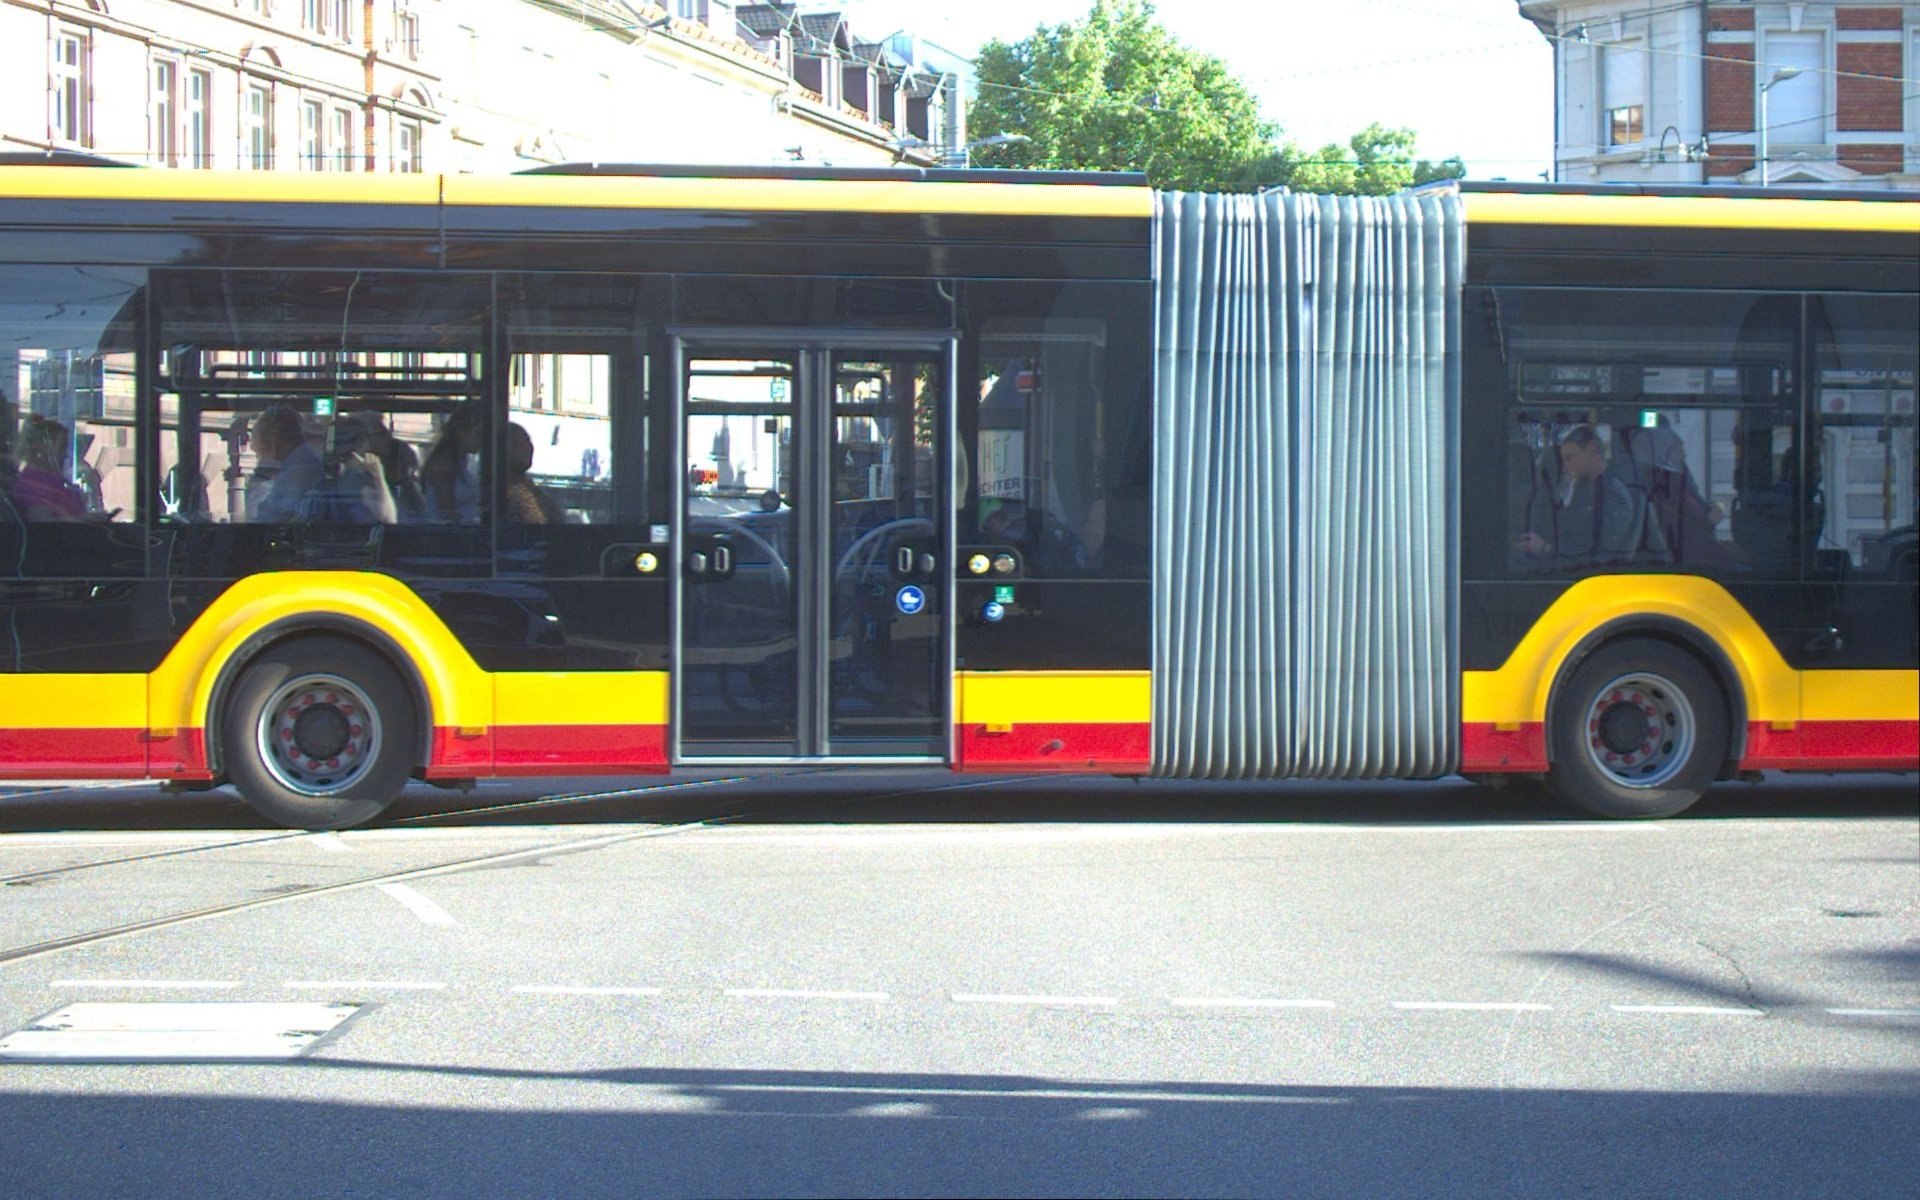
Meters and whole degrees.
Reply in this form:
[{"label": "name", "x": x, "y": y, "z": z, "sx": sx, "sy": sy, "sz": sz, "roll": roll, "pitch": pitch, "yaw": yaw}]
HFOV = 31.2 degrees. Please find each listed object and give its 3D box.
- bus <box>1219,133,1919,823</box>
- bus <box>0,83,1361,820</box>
[{"label": "bus", "x": 6.387, "y": -0.601, "z": 19.243, "sx": 9.409, "sy": 3.445, "sz": 2.781, "roll": 1, "pitch": 2, "yaw": -8}, {"label": "bus", "x": -2.490, "y": -0.732, "z": 17.994, "sx": 8.612, "sy": 3.445, "sz": 2.788, "roll": 1, "pitch": 2, "yaw": -8}]
